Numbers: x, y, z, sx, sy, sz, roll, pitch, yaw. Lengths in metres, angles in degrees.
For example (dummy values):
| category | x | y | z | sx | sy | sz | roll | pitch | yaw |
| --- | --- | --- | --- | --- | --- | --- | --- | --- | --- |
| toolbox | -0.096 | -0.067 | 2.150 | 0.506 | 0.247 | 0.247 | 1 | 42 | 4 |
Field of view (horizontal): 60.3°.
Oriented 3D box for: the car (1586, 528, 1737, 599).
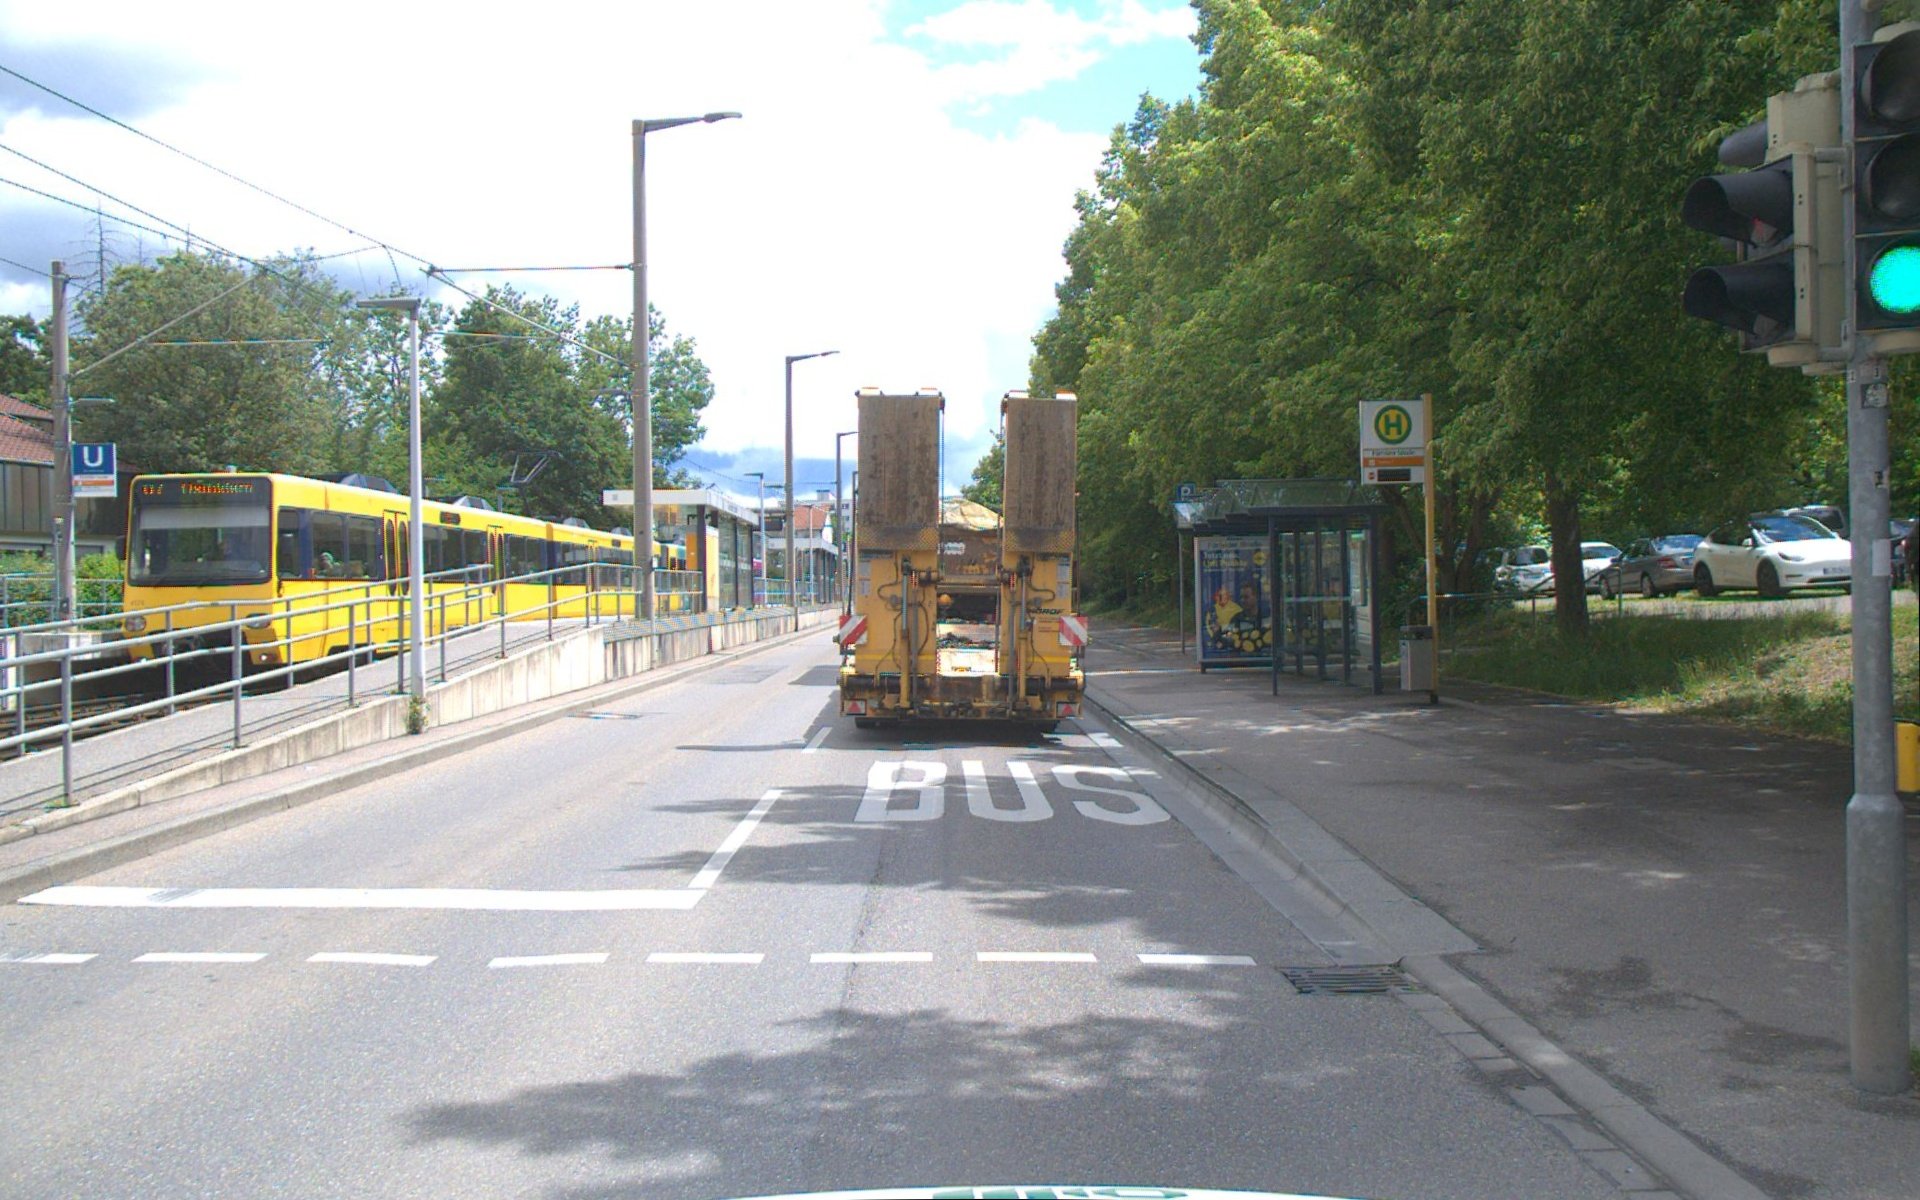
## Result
| category | x | y | z | sx | sy | sz | roll | pitch | yaw |
| --- | --- | --- | --- | --- | --- | --- | --- | --- | --- |
| car | 16.394 | -0.815 | 38.867 | 1.580 | 1.467 | 4.352 | -4 | 0 | -1 |

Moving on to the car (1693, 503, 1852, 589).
| category | x | y | z | sx | sy | sz | roll | pitch | yaw |
| --- | --- | --- | --- | --- | --- | --- | --- | --- | --- |
| car | 19.295 | -1.234 | 39.470 | 1.580 | 1.821 | 4.207 | -4 | 0 | -1 |

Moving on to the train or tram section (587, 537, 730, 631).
| category | x | y | z | sx | sy | sz | roll | pitch | yaw |
| --- | --- | --- | --- | --- | --- | --- | --- | --- | --- |
| train or tram section | -12.857 | -0.617 | 72.703 | 3.045 | 3.525 | 19.194 | 1 | 0 | -1 |

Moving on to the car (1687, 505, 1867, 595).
| category | x | y | z | sx | sy | sz | roll | pitch | yaw |
| --- | --- | --- | --- | --- | --- | --- | --- | --- | --- |
| car | 16.503 | -0.981 | 33.659 | 1.440 | 1.582 | 4.433 | -5 | 1 | 1 |

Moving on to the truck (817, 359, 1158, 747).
| category | x | y | z | sx | sy | sz | roll | pitch | yaw |
| --- | --- | --- | --- | --- | --- | --- | --- | --- | --- |
| truck | -0.095 | -0.490 | 23.268 | 3.335 | 3.797 | 13.729 | -1 | 0 | -3 |

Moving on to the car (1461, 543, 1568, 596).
| category | x | y | z | sx | sy | sz | roll | pitch | yaw |
| --- | --- | --- | --- | --- | --- | --- | --- | --- | --- |
| car | 16.851 | -0.887 | 50.455 | 1.803 | 1.445 | 4.123 | -3 | 0 | 0 |

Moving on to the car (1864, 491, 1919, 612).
| category | x | y | z | sx | sy | sz | roll | pitch | yaw |
| --- | --- | --- | --- | --- | --- | --- | --- | --- | --- |
| car | 14.717 | -0.802 | 23.055 | 1.654 | 1.723 | 4.260 | -5 | -2 | -2 |

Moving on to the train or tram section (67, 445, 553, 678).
| category | x | y | z | sx | sy | sz | roll | pitch | yaw |
| --- | --- | --- | --- | --- | --- | --- | --- | --- | --- |
| train or tram section | -12.237 | -0.591 | 34.684 | 3.045 | 3.525 | 18.821 | 1 | 0 | -1 |

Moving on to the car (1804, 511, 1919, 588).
| category | x | y | z | sx | sy | sz | roll | pitch | yaw |
| --- | --- | --- | --- | --- | --- | --- | --- | --- | --- |
| car | 19.393 | -1.023 | 34.412 | 1.647 | 1.478 | 4.001 | -2 | 0 | 1 |

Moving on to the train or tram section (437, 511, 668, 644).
| category | x | y | z | sx | sy | sz | roll | pitch | yaw |
| --- | --- | --- | --- | --- | --- | --- | --- | --- | --- |
| train or tram section | -12.534 | -0.603 | 53.588 | 3.045 | 3.525 | 18.992 | 1 | 0 | -1 |

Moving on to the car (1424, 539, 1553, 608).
| category | x | y | z | sx | sy | sz | roll | pitch | yaw |
| --- | --- | --- | --- | --- | --- | --- | --- | --- | --- |
| car | 13.723 | -0.667 | 43.260 | 1.809 | 1.691 | 4.723 | -1 | 0 | -1 |
